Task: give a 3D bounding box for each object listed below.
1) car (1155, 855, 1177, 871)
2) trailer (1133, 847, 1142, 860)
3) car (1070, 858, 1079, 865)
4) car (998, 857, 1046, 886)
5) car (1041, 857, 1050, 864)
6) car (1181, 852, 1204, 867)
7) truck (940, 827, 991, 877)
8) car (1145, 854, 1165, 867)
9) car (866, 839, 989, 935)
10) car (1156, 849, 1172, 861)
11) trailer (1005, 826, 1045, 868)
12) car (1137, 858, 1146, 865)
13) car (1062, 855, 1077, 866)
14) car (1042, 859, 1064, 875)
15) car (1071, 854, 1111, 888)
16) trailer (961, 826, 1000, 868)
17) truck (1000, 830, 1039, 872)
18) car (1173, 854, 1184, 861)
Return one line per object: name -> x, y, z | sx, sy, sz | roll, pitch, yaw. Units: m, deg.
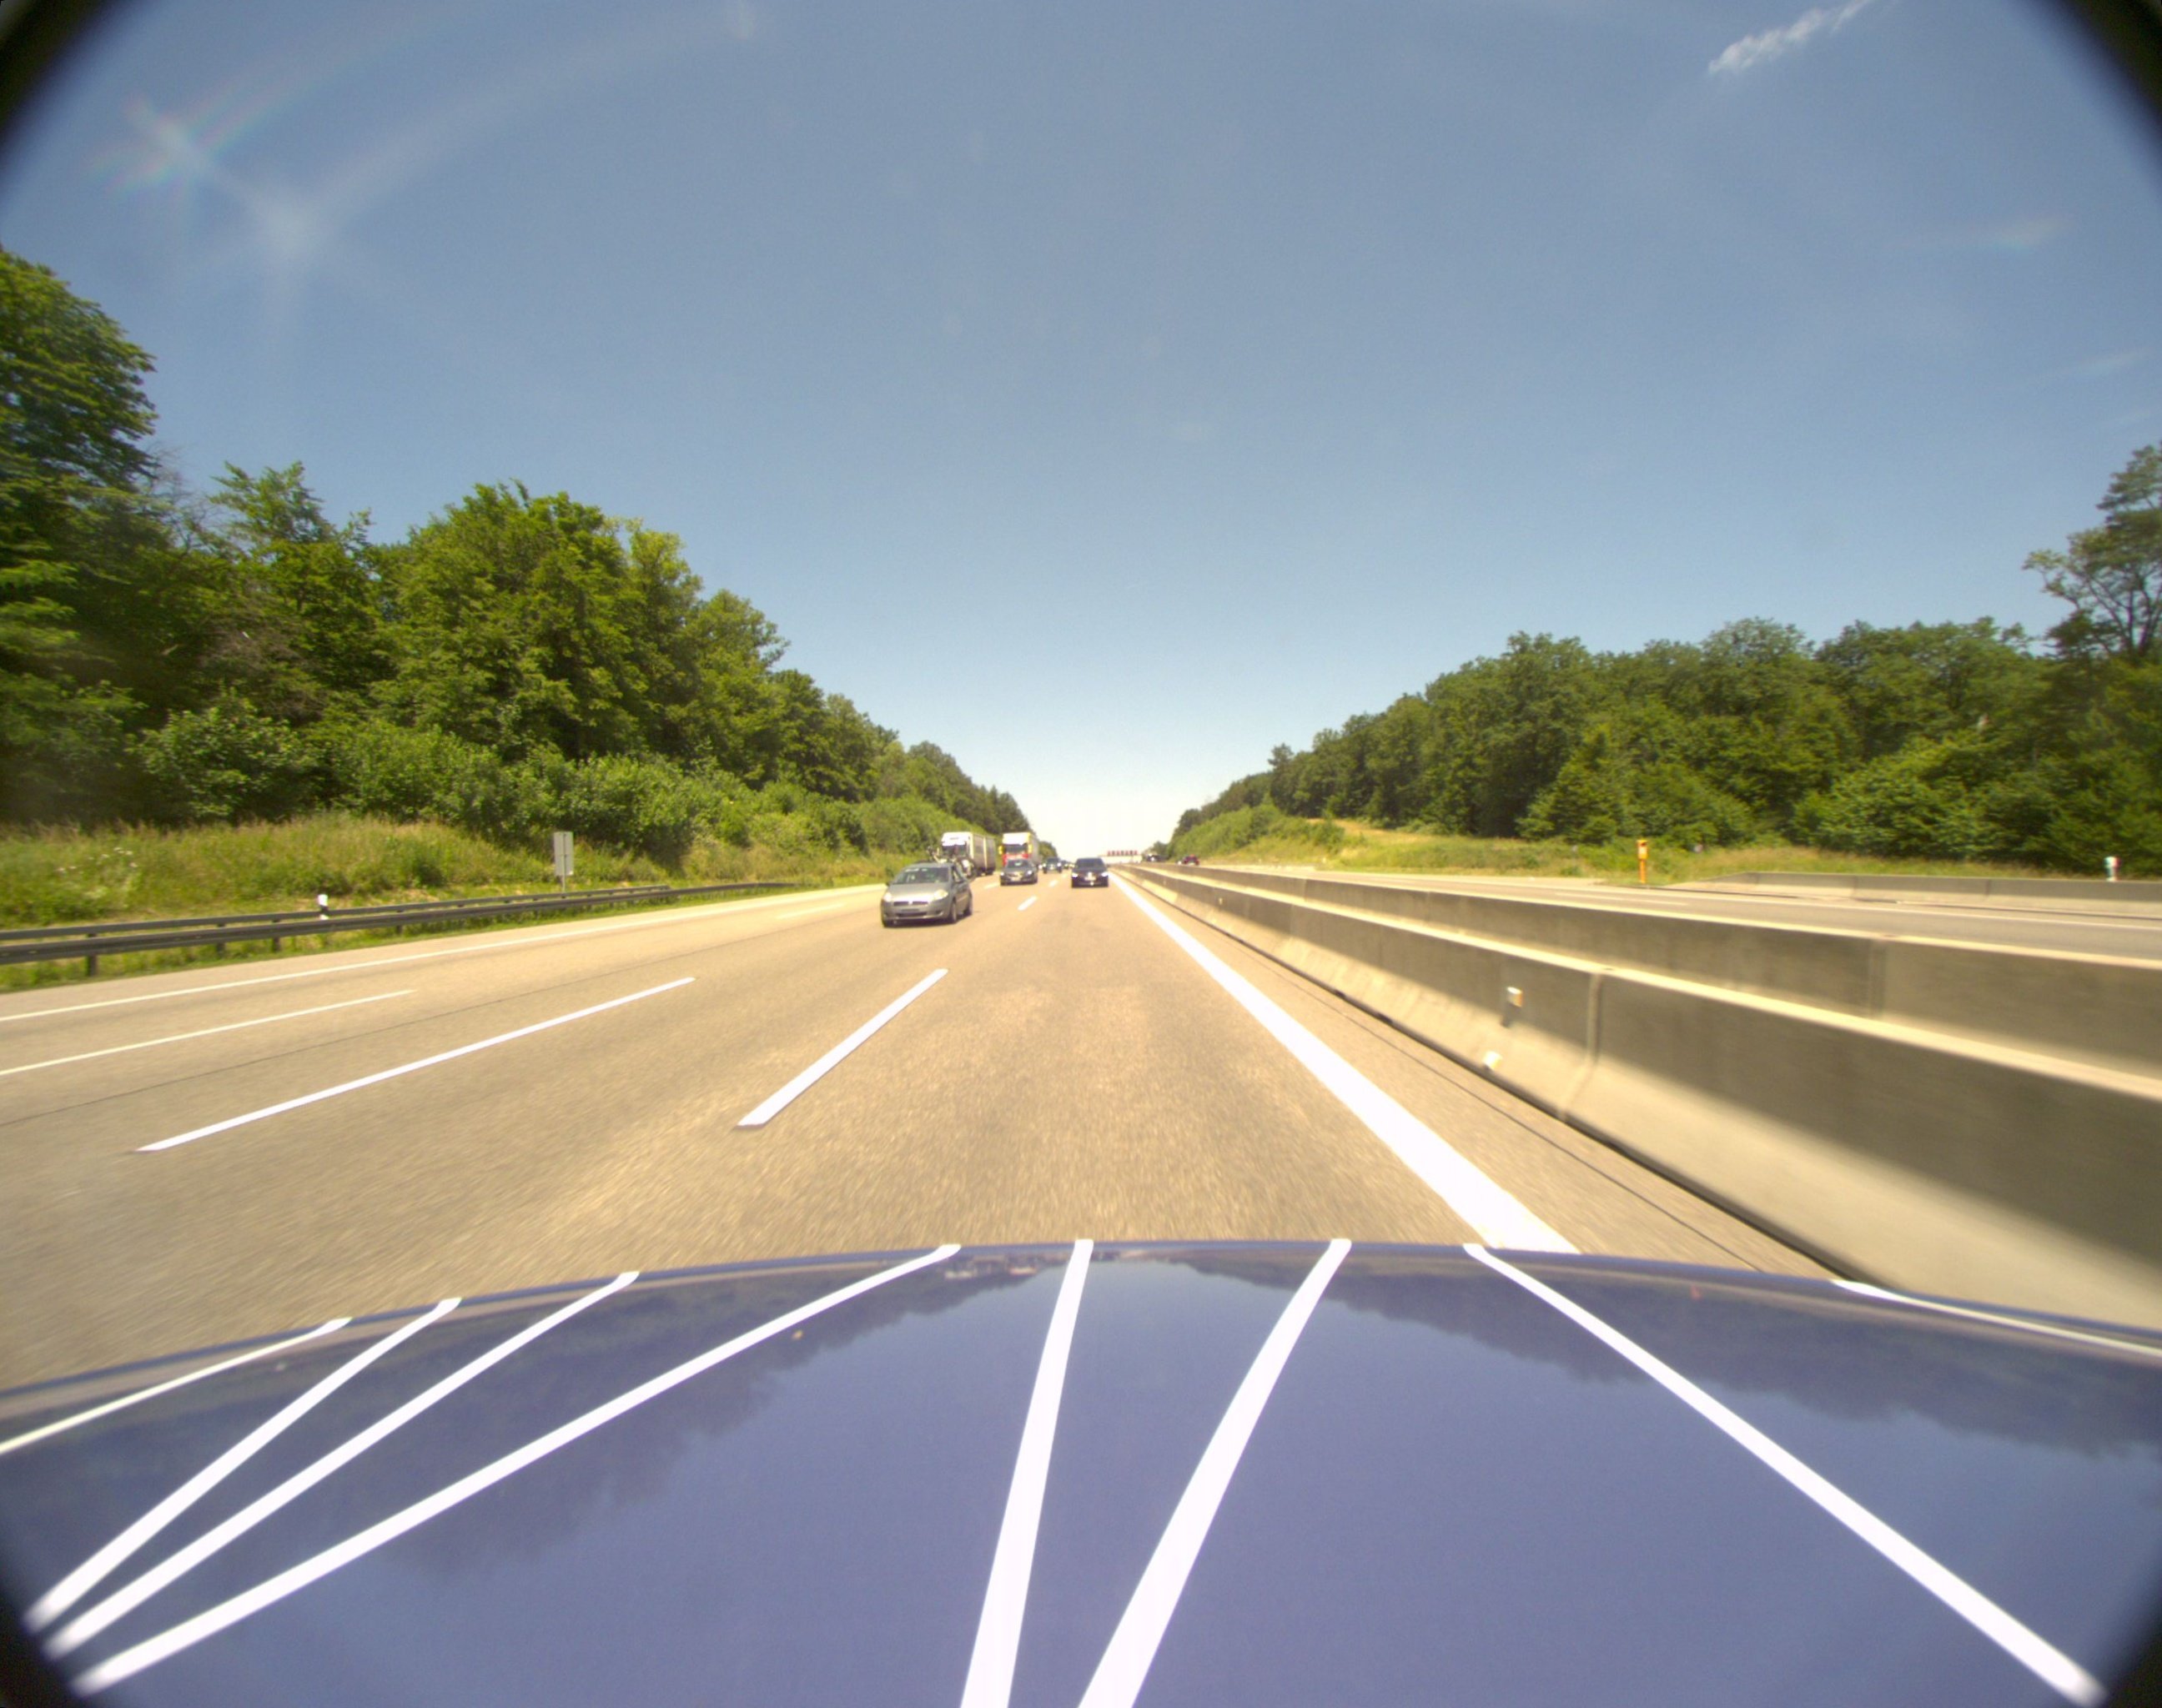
car -> 9.435, 0.998, 84.602 | 1.998, 1.659, 4.930 | -1, 0, 0
trailer -> 18.475, -0.204, 248.595 | 2.932, 4.060, 13.844 | -1, 0, 4
car -> -1.216, 1.466, 146.941 | 1.715, 1.308, 3.490 | -2, 0, 1
car -> -3.293, 0.954, 43.423 | 1.971, 1.444, 5.225 | -3, 0, 3
car -> -8.430, 1.527, 181.087 | 1.910, 1.504, 4.159 | -1, 0, 0
car -> 13.313, 0.670, 90.893 | 1.998, 1.665, 5.280 | 1, 0, 0
truck -> -10.518, -0.141, 70.388 | 2.728, 4.136, 10.971 | -3, 0, 1
car -> 9.504, 0.841, 98.175 | 1.998, 1.663, 5.280 | 1, 0, 0
car -> -3.708, 0.721, 19.288 | 1.966, 2.041, 4.784 | -2, 0, 1
car -> 13.747, 0.178, 126.513 | 1.999, 2.002, 4.811 | -1, 0, -1
trailer -> -5.900, -0.542, 82.666 | 2.926, 4.118, 14.851 | -1, -1, 1
car -> 13.787, 1.601, 174.484 | 1.805, 1.539, 4.729 | 1, 0, 1
car -> -1.657, 0.914, 111.527 | 1.910, 1.503, 4.160 | -3, 0, 2
car -> -2.816, 1.294, 76.912 | 1.910, 1.503, 4.160 | -3, 0, 2
car -> 0.498, 0.791, 36.617 | 1.777, 1.425, 4.143 | -3, 0, 1
trailer -> -10.337, -0.651, 79.094 | 2.585, 4.045, 8.384 | -3, 0, 1
truck -> -6.013, -0.229, 75.856 | 3.018, 3.957, 7.541 | -2, -1, 1
car -> 16.861, 0.598, 131.342 | 1.491, 1.297, 4.300 | 1, 0, 1
